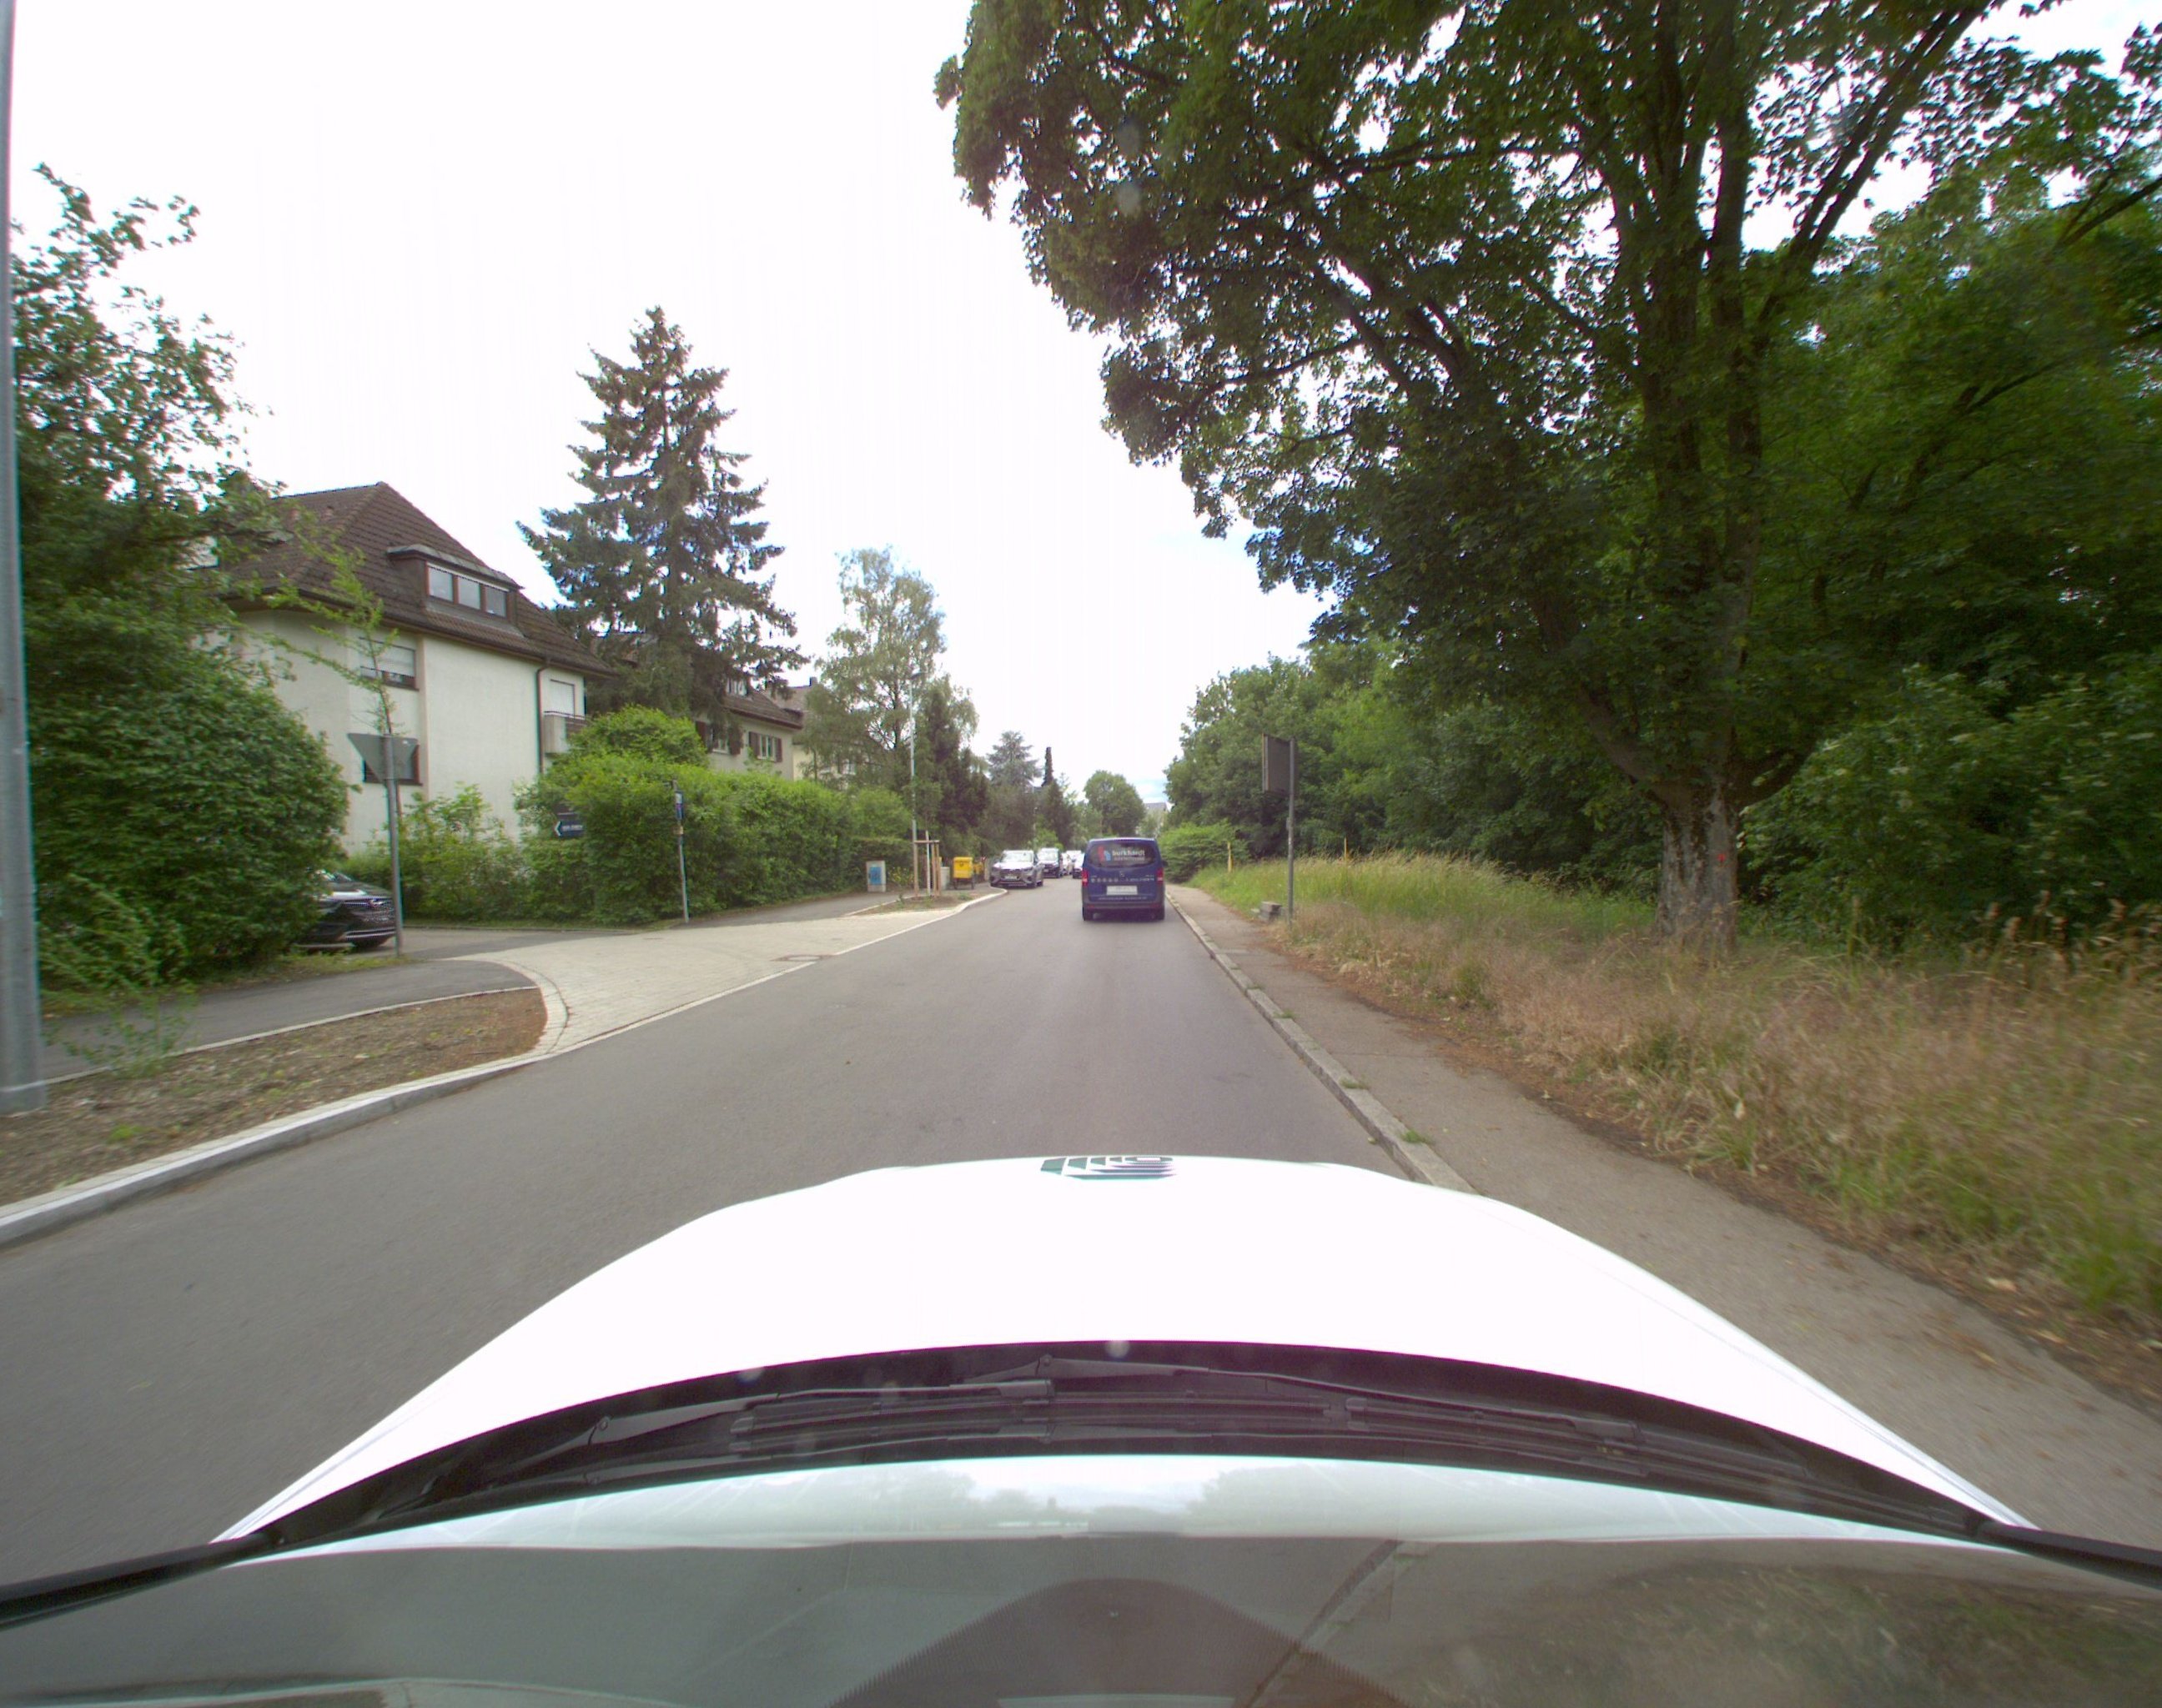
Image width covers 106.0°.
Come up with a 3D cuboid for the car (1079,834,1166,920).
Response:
[{"bbox_3d":[0.922,0.442,19.568,1.882,1.844,4.001,0,1,0],"label":"car"}]

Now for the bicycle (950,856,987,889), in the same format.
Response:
[{"bbox_3d":[-4.491,0.706,32.705,0.902,1.252,2.919,1,0,4],"label":"bicycle"}]

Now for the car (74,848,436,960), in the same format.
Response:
[{"bbox_3d":[-12.940,0.722,12.932,3.968,1.593,1.871,1,0,4],"label":"car"}]

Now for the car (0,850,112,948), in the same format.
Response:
[{"bbox_3d":[-18.656,0.687,13.054,3.973,1.494,1.868,1,0,0],"label":"car"}]

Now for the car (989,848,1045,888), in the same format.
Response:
[{"bbox_3d":[-2.742,0.559,35.569,1.828,1.631,4.305,0,0,4],"label":"car"}]

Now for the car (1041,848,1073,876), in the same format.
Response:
[{"bbox_3d":[-1.587,0.525,54.622,1.824,1.804,4.002,-1,-1,2],"label":"car"}]

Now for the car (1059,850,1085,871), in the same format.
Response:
[{"bbox_3d":[-0.717,0.539,70.089,1.883,1.692,4.554,0,2,4],"label":"car"}]

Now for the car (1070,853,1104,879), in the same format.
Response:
[{"bbox_3d":[0.390,0.669,48.274,1.812,1.443,4.004,0,0,4],"label":"car"}]

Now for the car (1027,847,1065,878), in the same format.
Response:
[{"bbox_3d":[-2.061,0.464,48.464,1.824,1.751,4.004,0,1,4],"label":"car"}]
